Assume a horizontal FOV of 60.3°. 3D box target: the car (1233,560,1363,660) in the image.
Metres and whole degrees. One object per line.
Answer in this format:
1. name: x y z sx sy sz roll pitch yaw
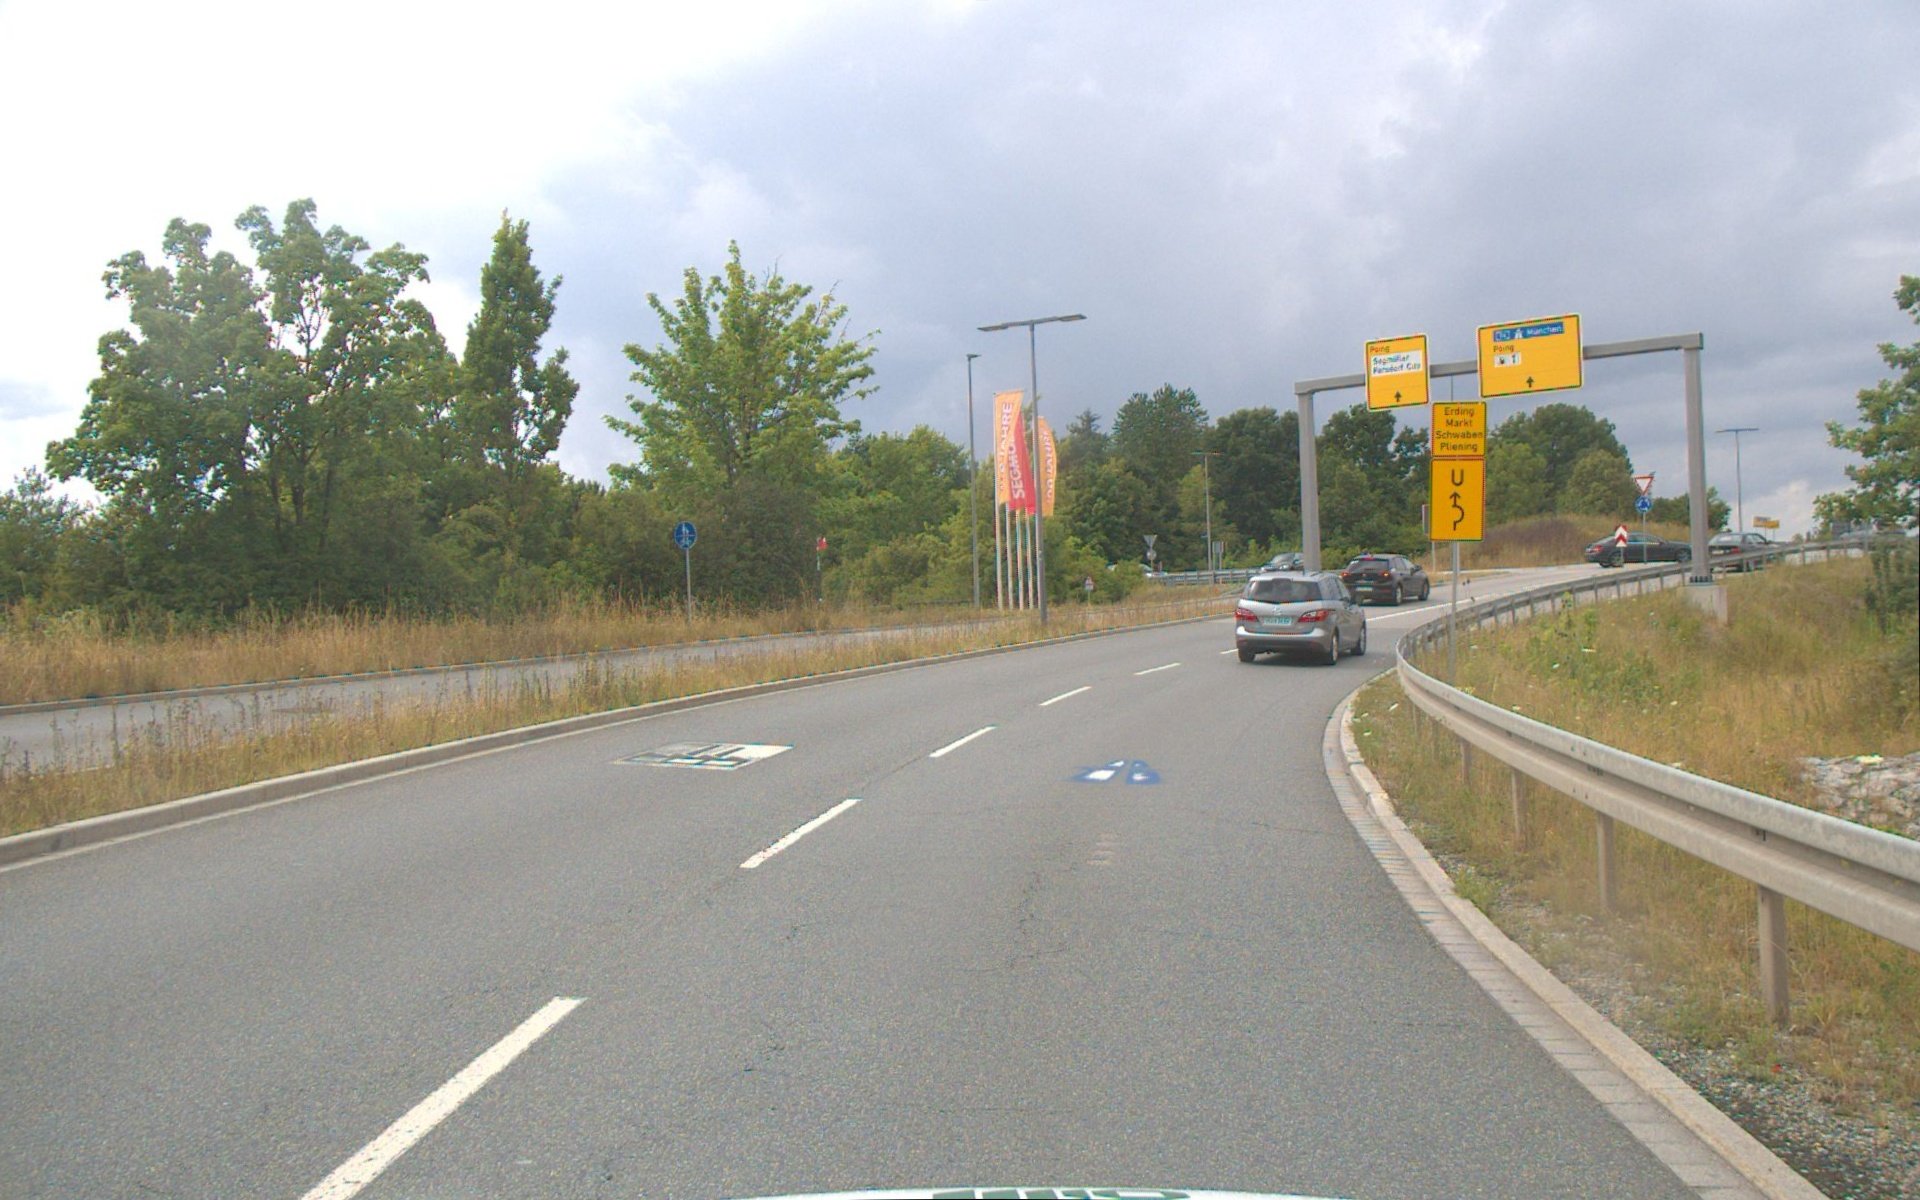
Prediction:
1. car: 6.254 0.118 30.278 1.731 1.644 3.923 1 2 21

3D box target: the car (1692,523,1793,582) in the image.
1. car: 27.786 -1.695 58.716 3.918 1.869 1.636 -3 1 -39

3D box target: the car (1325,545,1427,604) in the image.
1. car: 12.286 -0.794 48.704 1.836 1.633 3.725 2 3 32

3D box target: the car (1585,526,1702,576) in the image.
1. car: 28.697 -2.046 69.486 4.062 1.814 1.901 -3 1 -4

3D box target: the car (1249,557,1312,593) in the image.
1. car: 18.486 -1.433 95.235 1.823 1.693 4.147 -4 1 37
